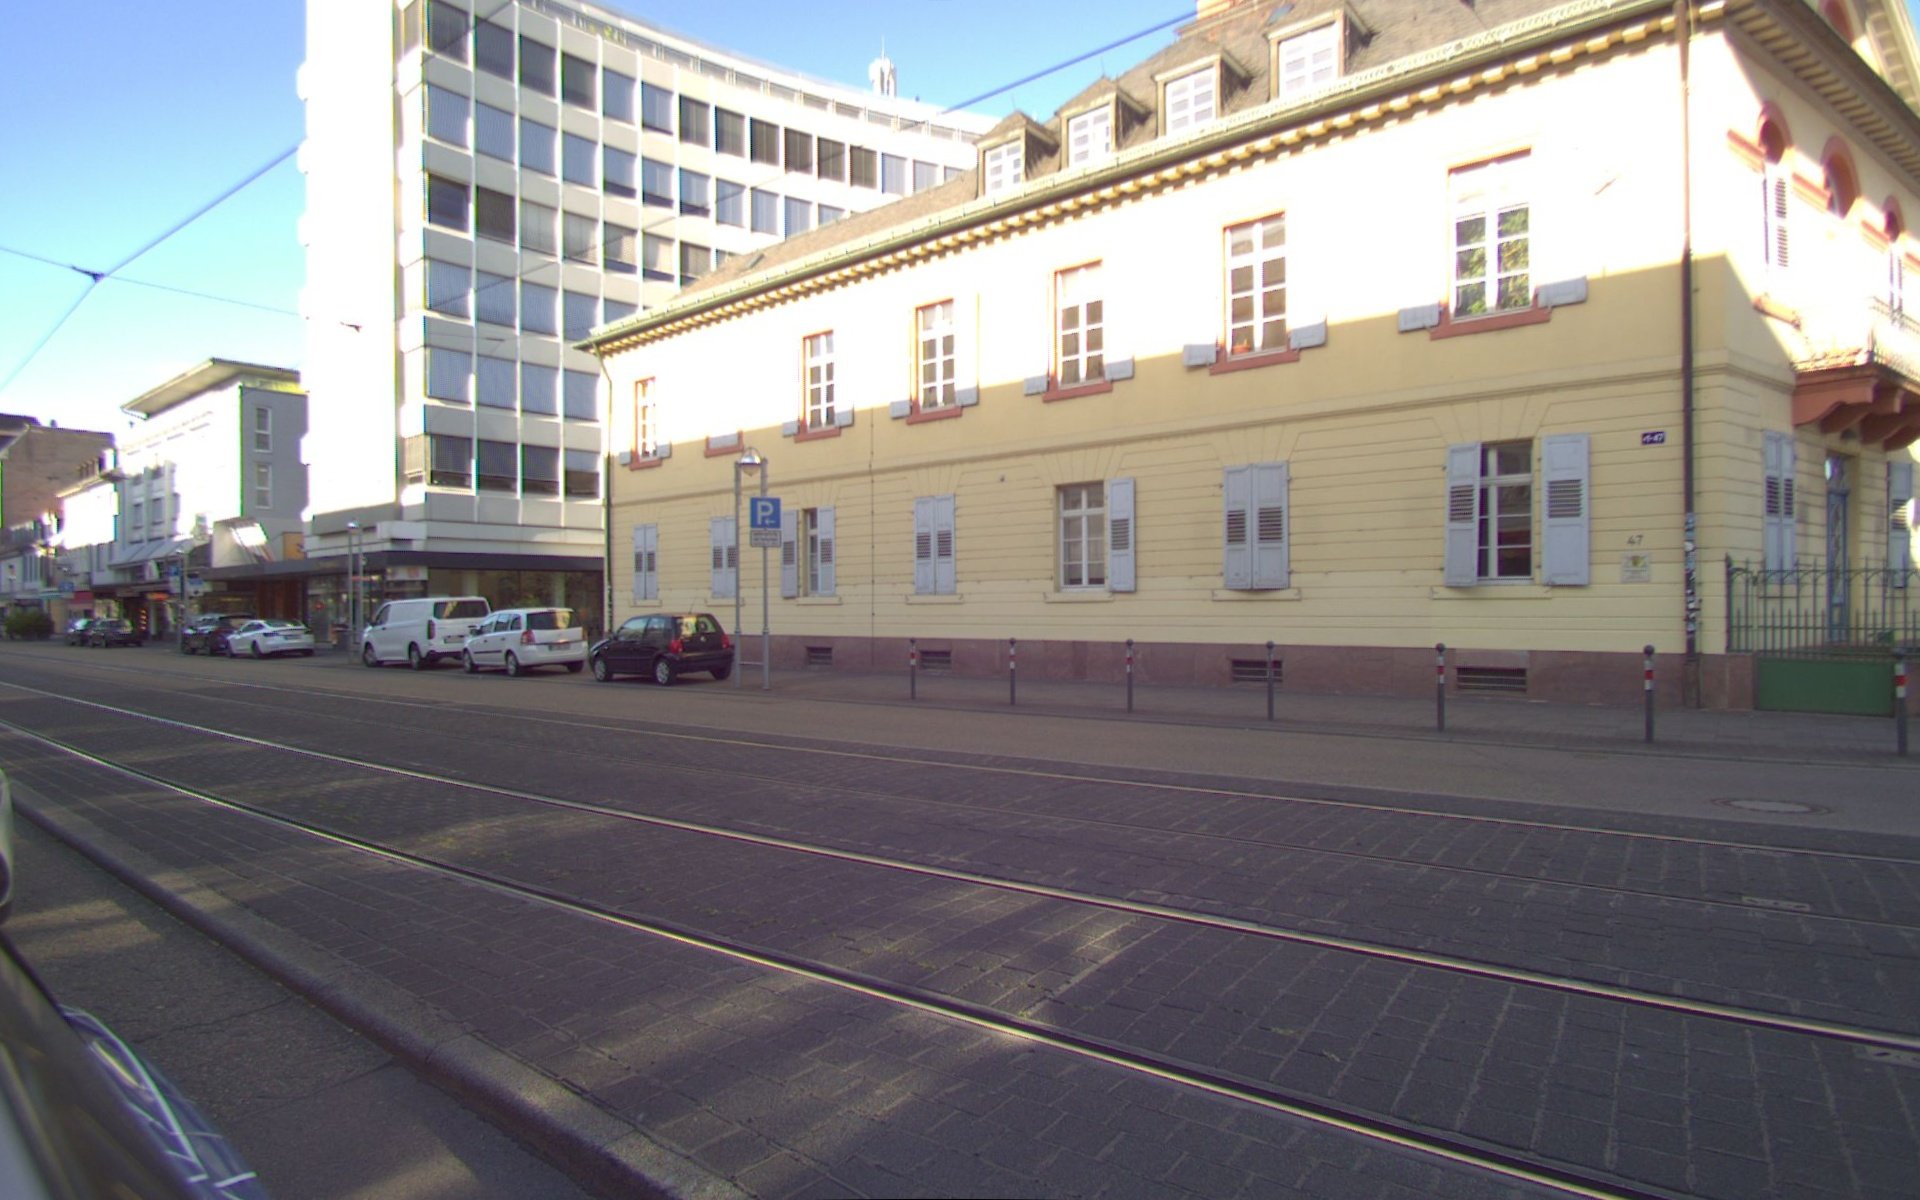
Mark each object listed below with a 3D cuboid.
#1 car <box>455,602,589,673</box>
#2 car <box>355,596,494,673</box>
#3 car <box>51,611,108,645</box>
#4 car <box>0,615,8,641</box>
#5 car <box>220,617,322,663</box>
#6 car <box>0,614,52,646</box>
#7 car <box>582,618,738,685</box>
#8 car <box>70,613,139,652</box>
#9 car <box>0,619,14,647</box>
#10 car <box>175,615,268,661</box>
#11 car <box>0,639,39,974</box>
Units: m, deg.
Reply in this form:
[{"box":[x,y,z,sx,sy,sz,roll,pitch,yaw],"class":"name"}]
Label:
[{"box":[-11.033,0.890,25.365,4.005,1.621,1.619,-1,0,43],"class":"car"},{"box":[-15.361,0.968,28.948,4.619,2.029,2.014,-1,-1,41],"class":"car"},{"box":[-50.283,1.593,57.790,3.994,1.896,1.768,-1,-1,38],"class":"car"},{"box":[-78.675,2.263,81.785,3.995,2.029,1.974,-1,0,38],"class":"car"},{"box":[-25.645,1.443,37.610,4.369,1.541,1.974,-1,0,39],"class":"car"},{"box":[-62.851,2.024,67.950,3.996,2.058,2.172,-1,-1,39],"class":"car"},{"box":[-6.385,1.042,21.433,3.210,1.263,1.667,-1,0,39],"class":"car"},{"box":[-44.023,1.644,52.061,3.995,1.874,1.974,-1,0,38],"class":"car"},{"box":[-71.225,2.406,74.437,3.998,2.029,1.973,-1,-1,41],"class":"car"},{"box":[-29.924,1.488,40.974,4.103,1.717,1.975,-1,0,38],"class":"car"},{"box":[-6.110,0.900,4.777,3.992,1.393,1.862,-1,0,36],"class":"car"}]
